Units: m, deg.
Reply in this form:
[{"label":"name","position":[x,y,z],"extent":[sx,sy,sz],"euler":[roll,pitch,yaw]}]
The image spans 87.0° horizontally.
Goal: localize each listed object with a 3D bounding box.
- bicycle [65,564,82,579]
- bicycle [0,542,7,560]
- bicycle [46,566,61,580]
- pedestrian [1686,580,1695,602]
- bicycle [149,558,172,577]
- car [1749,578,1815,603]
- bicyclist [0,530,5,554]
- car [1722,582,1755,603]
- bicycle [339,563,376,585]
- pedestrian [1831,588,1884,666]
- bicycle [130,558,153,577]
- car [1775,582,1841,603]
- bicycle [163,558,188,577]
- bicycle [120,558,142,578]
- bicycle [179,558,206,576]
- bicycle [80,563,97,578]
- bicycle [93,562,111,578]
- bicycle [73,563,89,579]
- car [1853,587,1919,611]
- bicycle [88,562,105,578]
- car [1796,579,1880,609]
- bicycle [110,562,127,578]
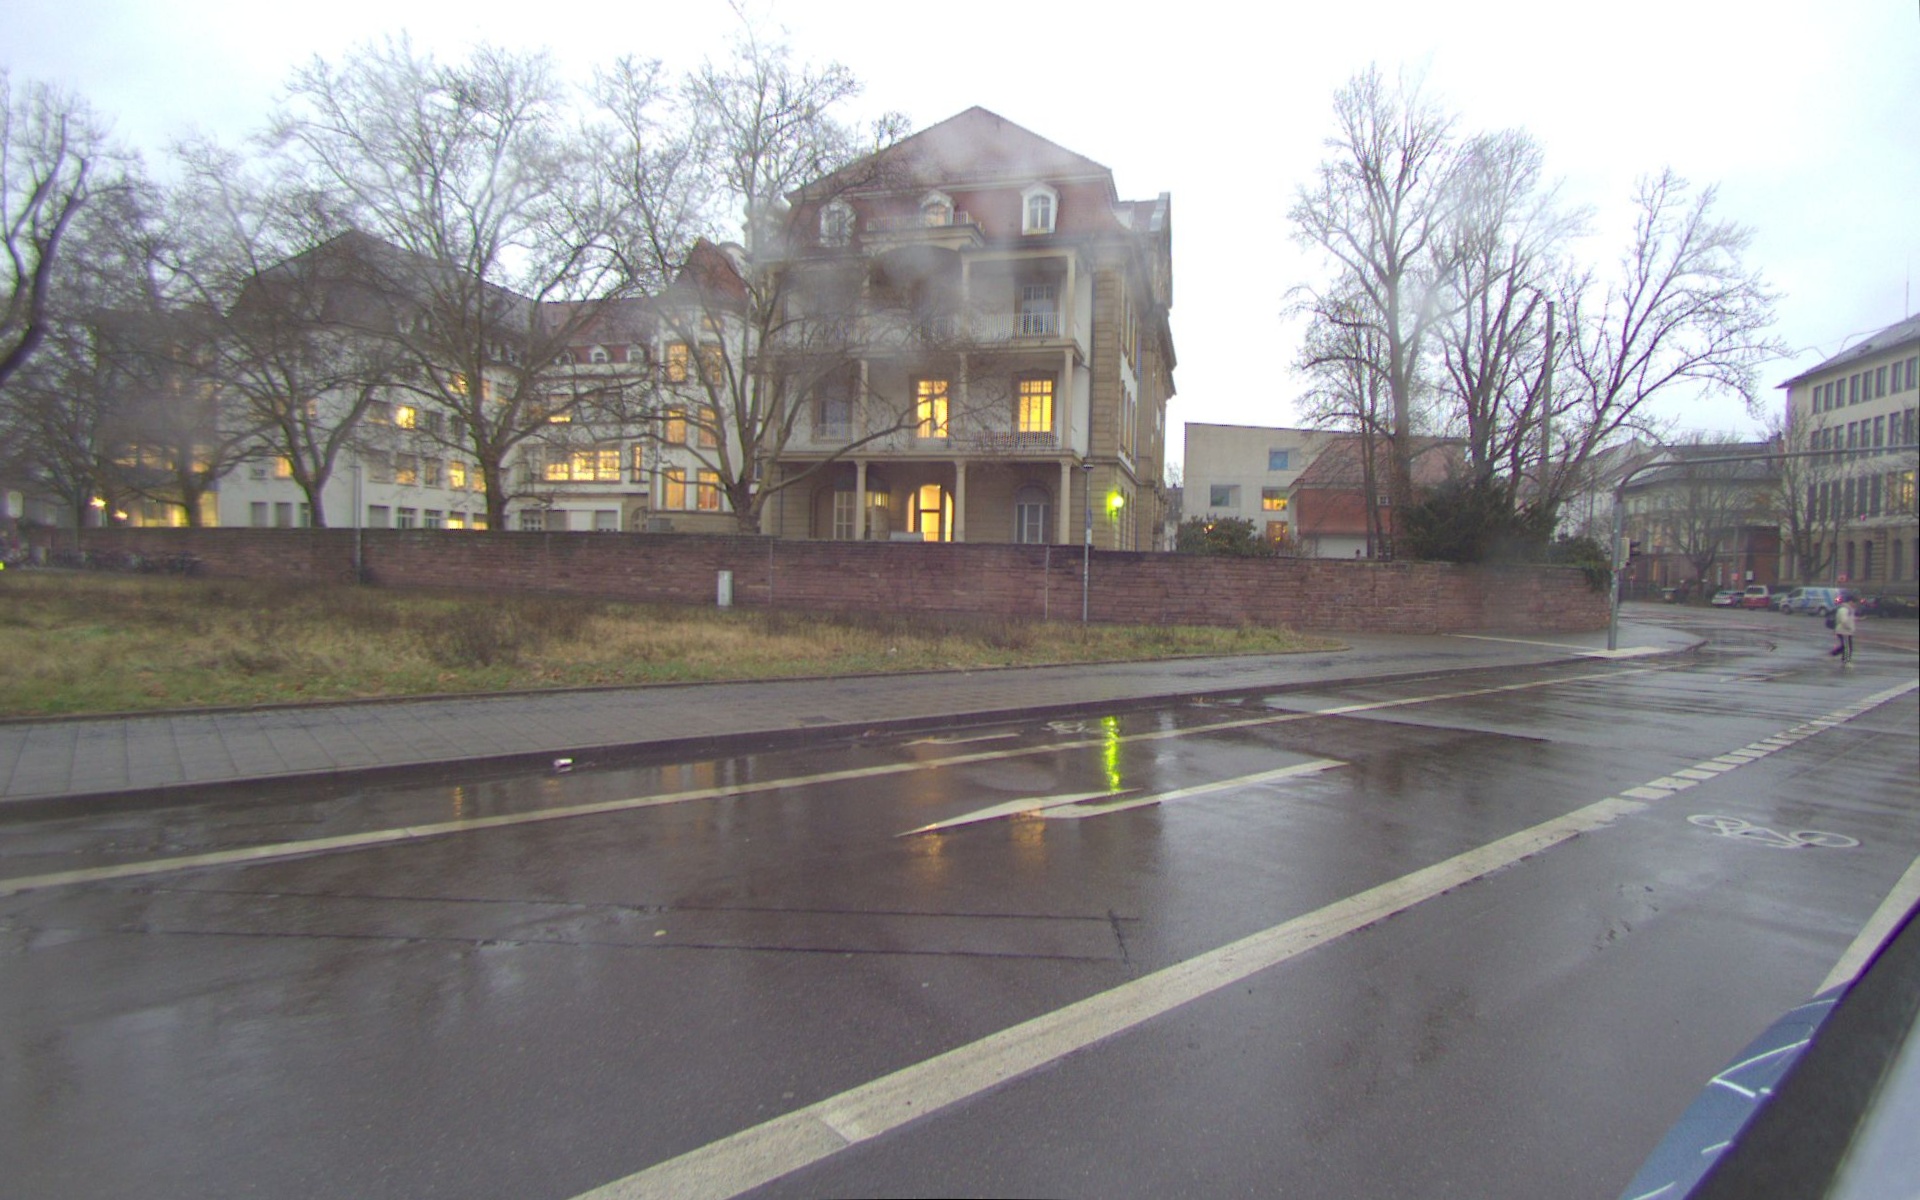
[{"label":"bicycle","position":[-47.895,-1.538,54.672],"extent":[1.522,0.796,0.389],"euler":[0,0,38]},{"label":"bicycle","position":[-66.681,-3.420,70.165],"extent":[1.670,1.182,0.603],"euler":[0,0,37]},{"label":"bicycle","position":[-51.608,-1.546,57.591],"extent":[1.522,0.796,0.389],"euler":[0,0,38]},{"label":"pedestrian","position":[68.462,-0.877,94.817],"extent":[0.538,2.038,0.474],"euler":[0,2,-45]},{"label":"bicycle","position":[-37.030,-1.497,46.884],"extent":[1.480,0.849,0.346],"euler":[0,0,32]},{"label":"car","position":[64.981,-0.790,80.024],"extent":[3.916,1.924,2.052],"euler":[0,0,-13]},{"label":"bicyclist","position":[-66.688,-4.013,70.175],"extent":[0.450,1.662,0.603],"euler":[0,0,37]},{"label":"car","position":[66.481,-0.643,86.388],"extent":[1.992,1.690,3.940],"euler":[0,1,42]},{"label":"bicycle","position":[-23.383,-0.988,39.270],"extent":[1.366,0.835,0.392],"euler":[0,0,14]},{"label":"pedestrian","position":[21.020,0.606,23.706],"extent":[0.663,1.744,0.797],"euler":[0,3,-44]},{"label":"bicycle","position":[-38.625,-1.507,47.766],"extent":[1.519,0.869,0.389],"euler":[0,0,33]},{"label":"car","position":[64.700,-0.585,77.226],"extent":[3.916,1.570,1.805],"euler":[0,0,-13]},{"label":"bicycle","position":[-35.550,-1.469,45.858],"extent":[1.519,0.796,0.389],"euler":[0,0,33]},{"label":"bicycle","position":[-39.908,-1.539,48.720],"extent":[1.519,0.928,0.389],"euler":[0,0,33]},{"label":"bicycle","position":[-34.209,-1.468,45.109],"extent":[1.399,0.796,0.355],"euler":[0,0,26]},{"label":"bicycle","position":[-45.441,-1.532,52.740],"extent":[1.522,0.796,0.389],"euler":[0,0,38]},{"label":"bicycle","position":[-43.130,-1.495,50.895],"extent":[1.522,0.796,0.389],"euler":[0,0,38]},{"label":"bicycle","position":[-46.672,-1.535,53.718],"extent":[1.522,0.796,0.389],"euler":[0,0,38]},{"label":"car","position":[61.963,-0.060,67.006],"extent":[3.927,1.570,1.800],"euler":[0,0,4]},{"label":"bicycle","position":[-44.178,-1.529,51.766],"extent":[1.522,0.796,0.389],"euler":[0,0,38]},{"label":"car","position":[57.780,-0.393,66.687],"extent":[1.847,1.868,4.003],"euler":[0,0,-3]},{"label":"bicycle","position":[-41.473,-1.476,49.875],"extent":[1.599,0.796,0.388],"euler":[0,0,41]}]
